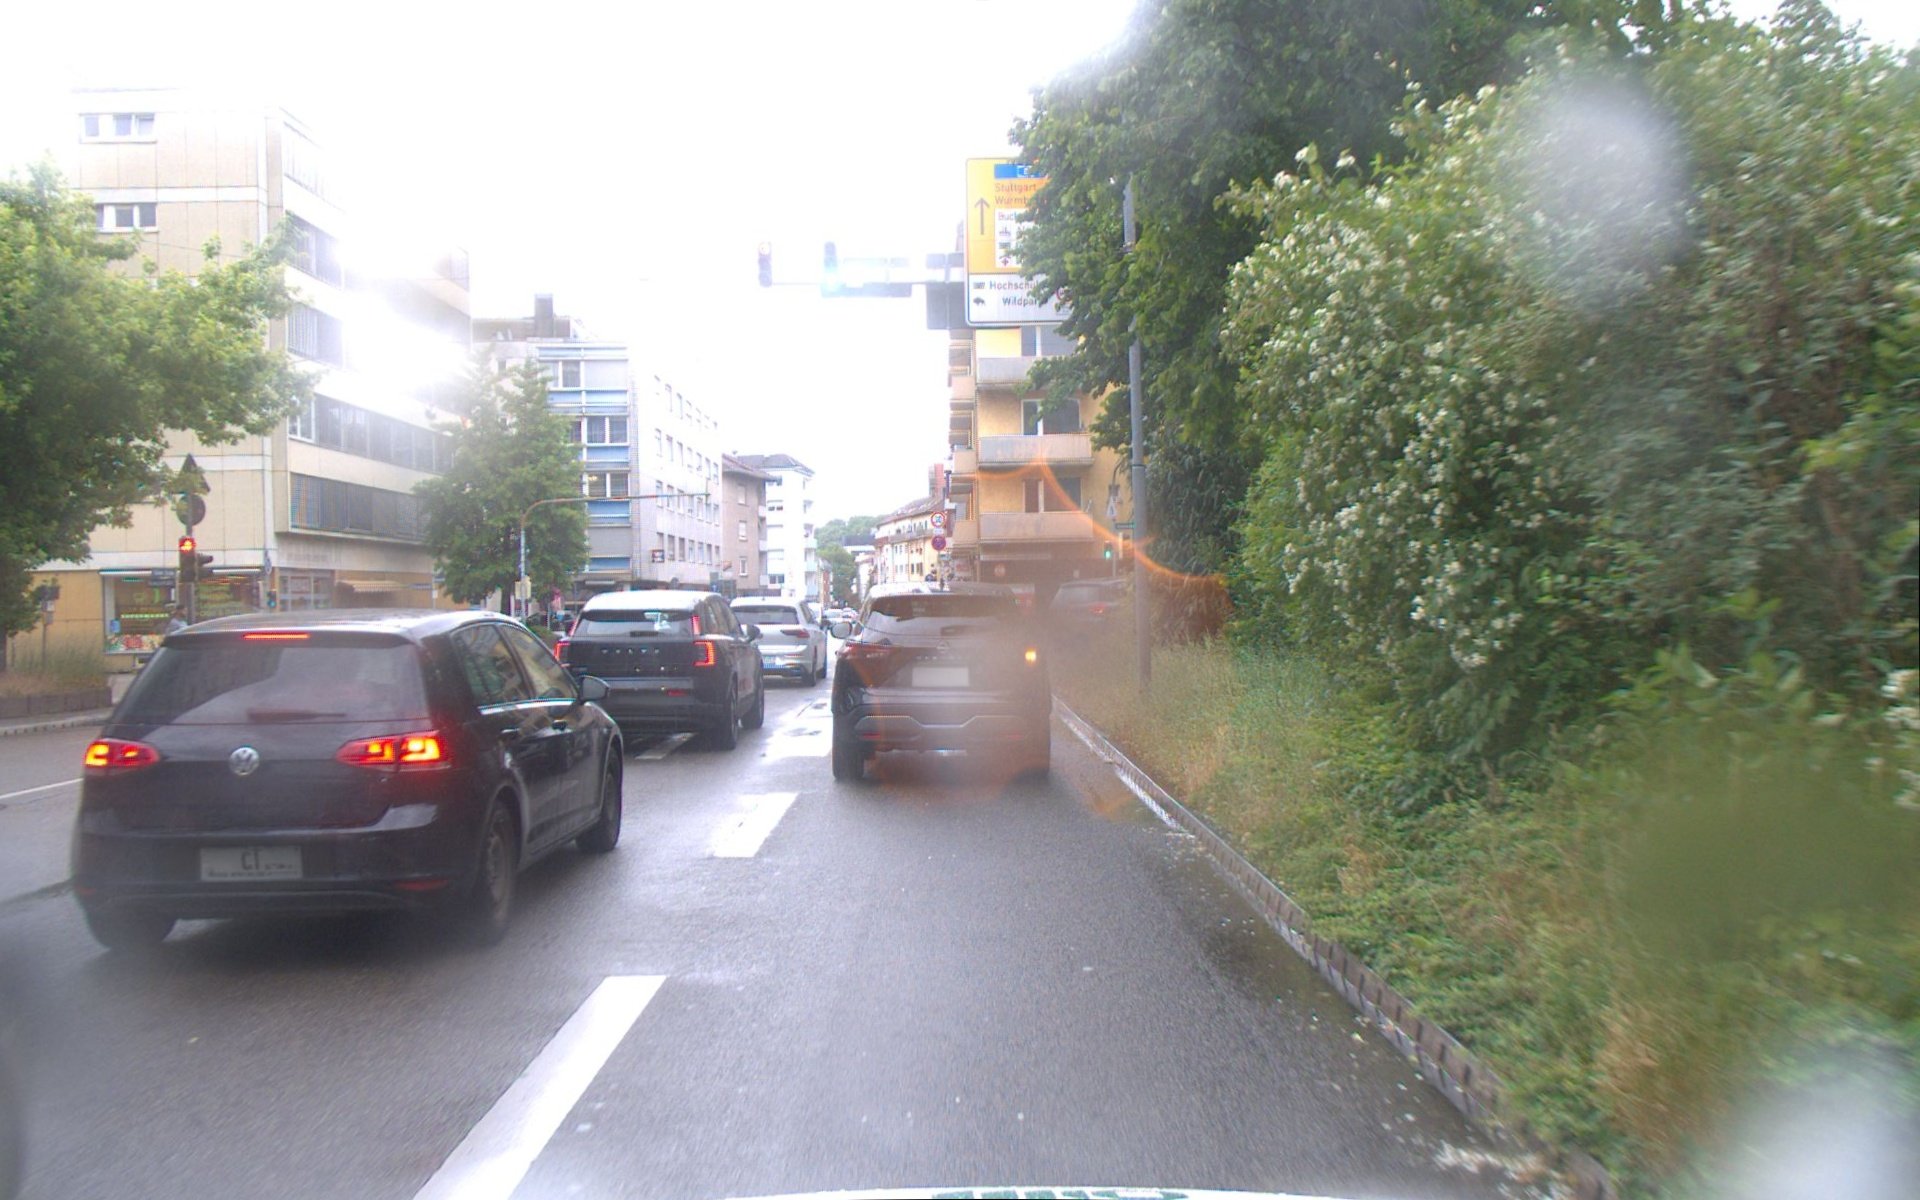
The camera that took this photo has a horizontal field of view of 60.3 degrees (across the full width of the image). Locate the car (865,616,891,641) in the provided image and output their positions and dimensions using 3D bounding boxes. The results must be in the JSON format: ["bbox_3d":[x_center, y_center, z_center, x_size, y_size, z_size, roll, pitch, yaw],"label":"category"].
[{"bbox_3d":[-7.318,2.517,147.806,1.953,2.048,4.000,-3,0,0],"label":"car"}]

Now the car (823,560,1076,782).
[{"bbox_3d":[-0.160,0.540,14.570,1.920,1.682,3.998,0,0,-2],"label":"car"}]

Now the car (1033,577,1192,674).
[{"bbox_3d":[3.539,0.545,37.750,1.958,2.049,3.988,-1,0,33],"label":"car"}]

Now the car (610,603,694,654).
[{"bbox_3d":[-10.713,0.958,57.779,1.953,1.520,4.088,-4,0,1],"label":"car"}]

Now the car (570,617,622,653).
[{"bbox_3d":[-16.312,1.556,74.235,1.639,1.504,3.606,-3,0,-3],"label":"car"}]

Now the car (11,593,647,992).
[{"bbox_3d":[-2.796,0.727,8.349,1.720,1.478,3.999,-1,0,-1],"label":"car"}]

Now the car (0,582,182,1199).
[{"bbox_3d":[-2.678,0.746,1.845,1.708,1.513,4.160,-2,0,-2],"label":"car"}]

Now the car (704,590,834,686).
[{"bbox_3d":[-3.167,0.582,28.124,1.731,1.469,4.000,-2,0,-1],"label":"car"}]

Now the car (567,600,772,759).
[{"bbox_3d":[-2.925,0.740,17.379,1.580,1.445,3.965,-1,0,-2],"label":"car"}]

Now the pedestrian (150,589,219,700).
[{"bbox_3d":[-14.812,0.837,31.614,0.923,2.049,0.884,-3,0,-10],"label":"pedestrian"}]

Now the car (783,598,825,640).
[{"bbox_3d":[-7.322,0.870,77.799,1.744,1.847,4.402,-3,0,-4],"label":"car"}]

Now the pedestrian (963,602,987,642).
[{"bbox_3d":[0.630,0.940,69.625,0.819,1.584,0.832,-7,0,-2],"label":"pedestrian"}]
